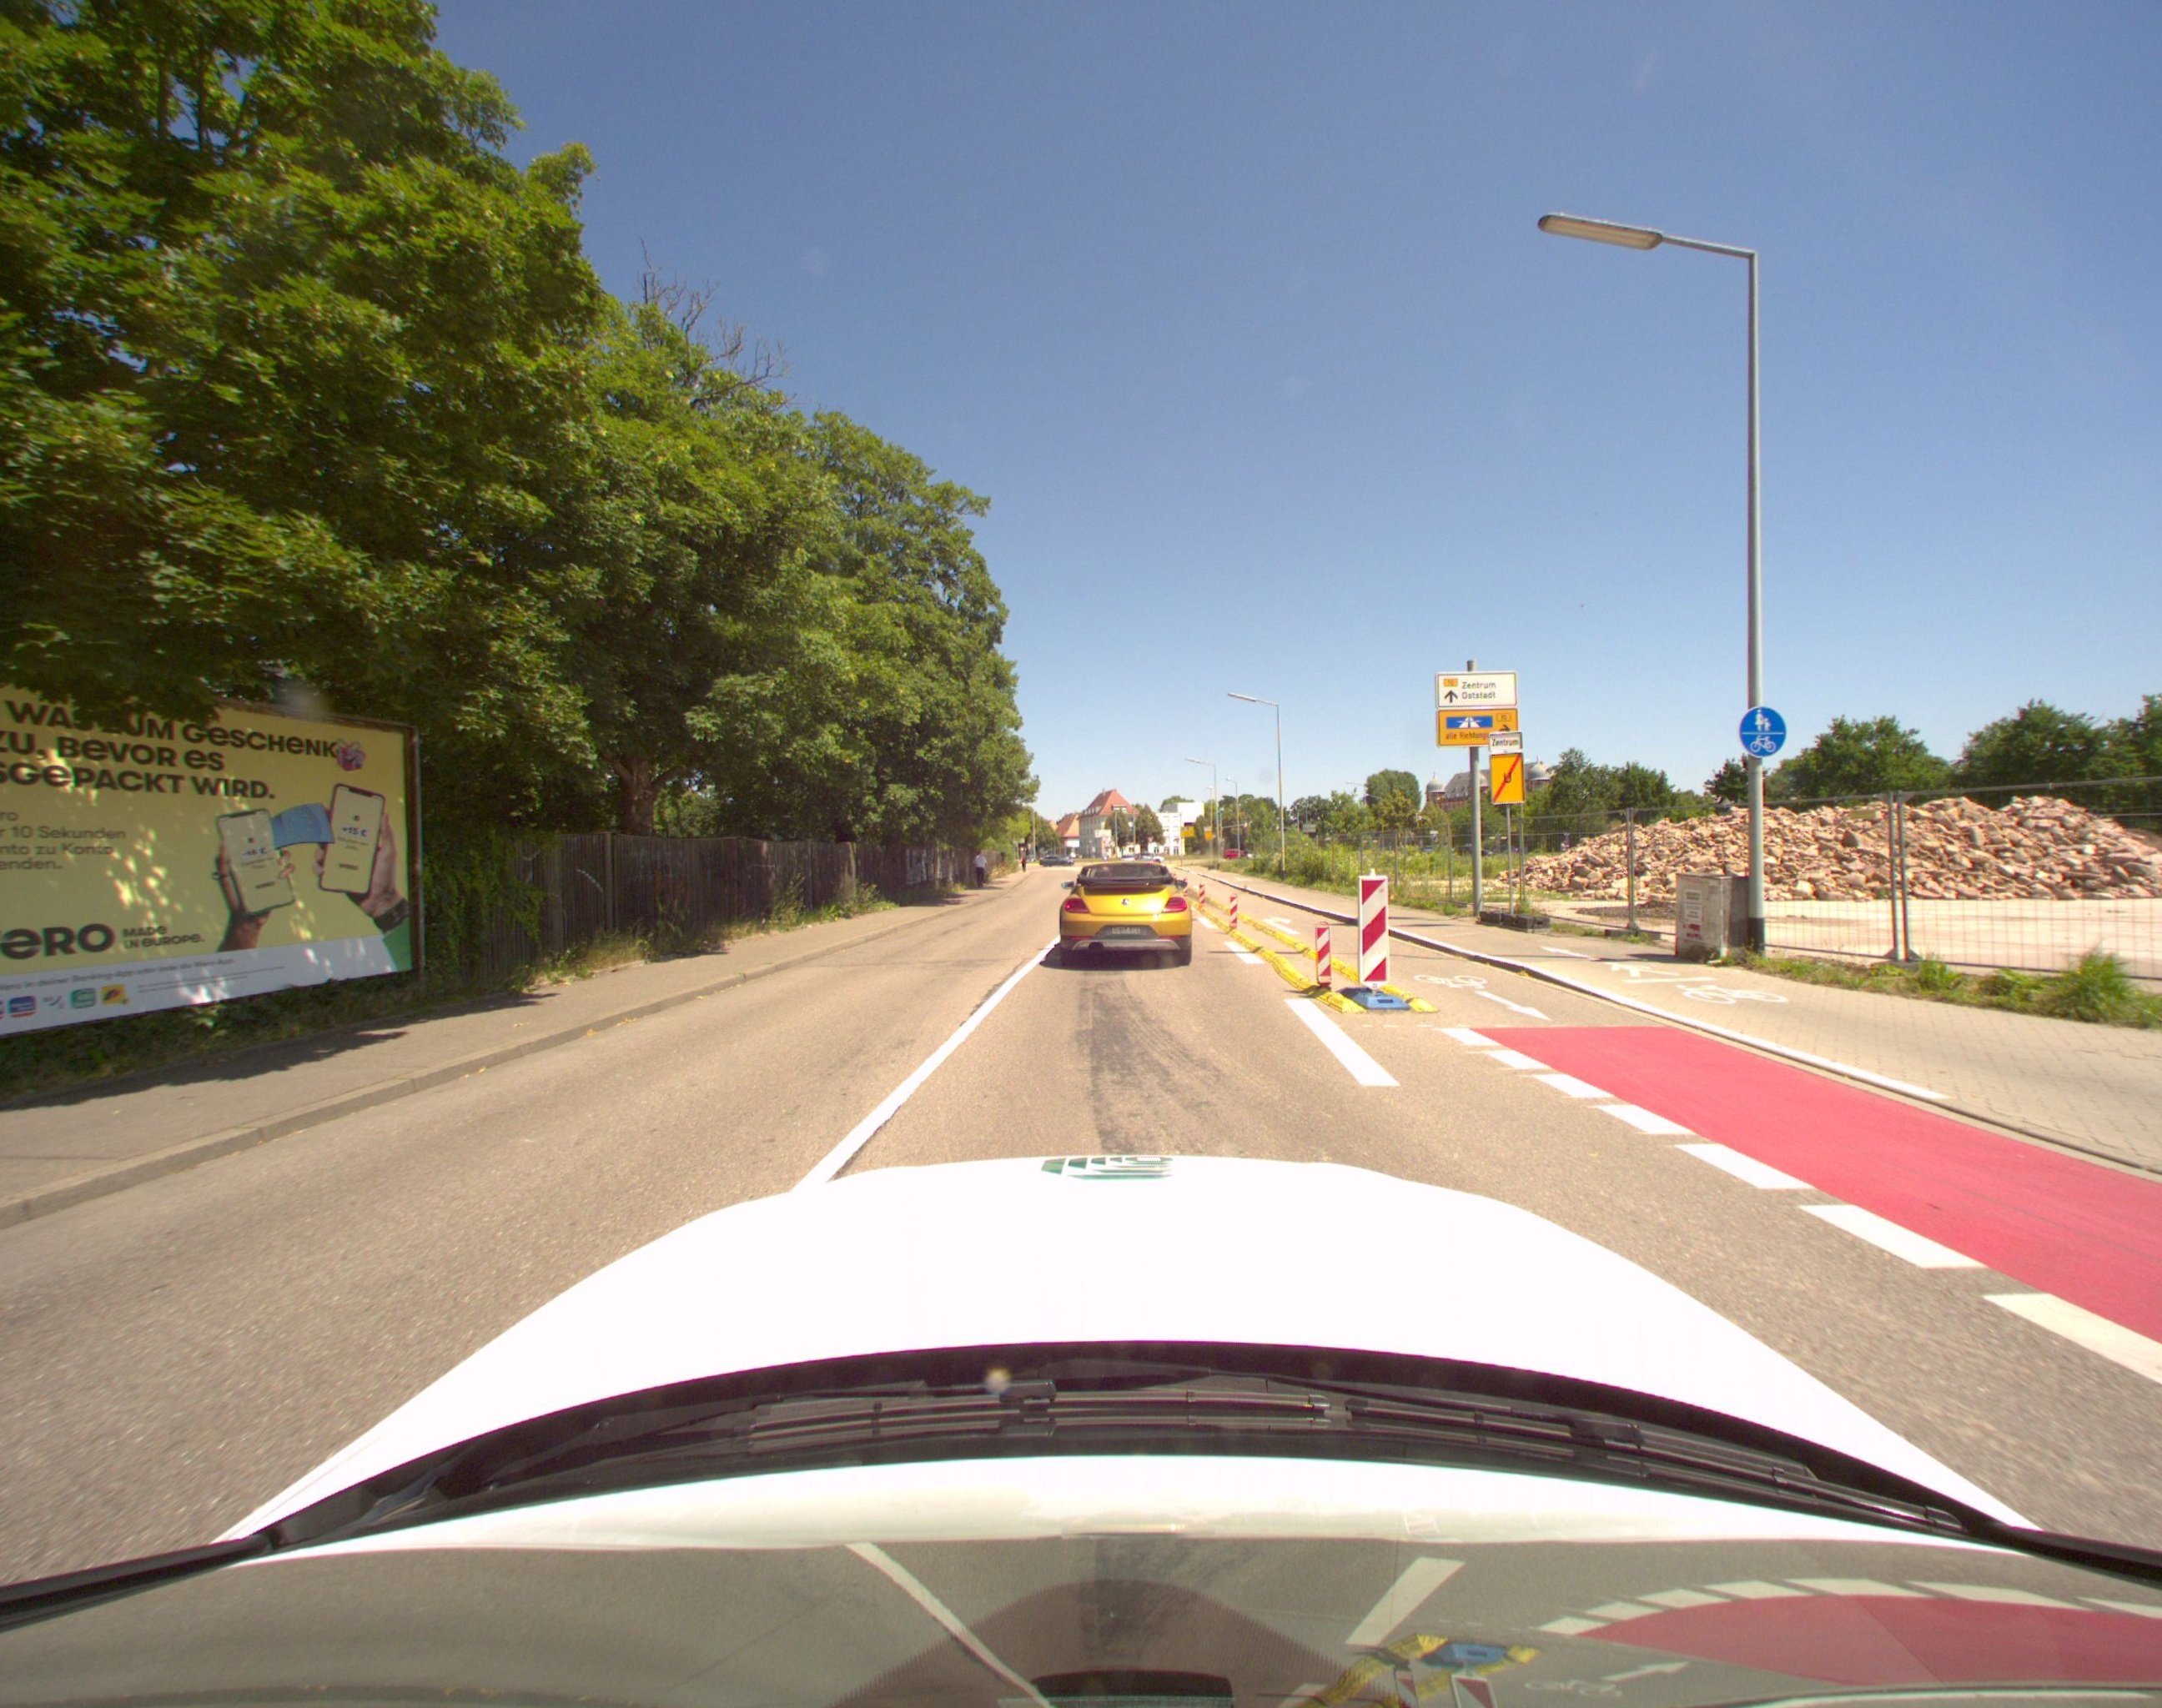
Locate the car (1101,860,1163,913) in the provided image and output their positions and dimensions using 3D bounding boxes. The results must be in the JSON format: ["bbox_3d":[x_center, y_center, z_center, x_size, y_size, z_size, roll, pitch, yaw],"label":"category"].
[{"bbox_3d":[1.579,0.951,25.267,1.719,1.443,4.004,-2,0,3],"label":"car"}]

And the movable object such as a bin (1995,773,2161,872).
[{"bbox_3d":[38.132,-1.125,26.610,4.921,3.260,10.473,-2,0,2],"label":"movable object such as a bin"}]

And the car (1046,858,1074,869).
[{"bbox_3d":[-2.712,1.219,106.588,3.415,1.275,1.411,-2,0,11],"label":"car"}]

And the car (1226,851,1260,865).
[{"bbox_3d":[20.295,0.487,102.165,4.038,1.677,1.790,-2,0,10],"label":"car"}]

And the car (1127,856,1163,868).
[{"bbox_3d":[8.225,1.047,104.624,4.414,1.358,1.541,-2,0,8],"label":"car"}]

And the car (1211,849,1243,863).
[{"bbox_3d":[19.755,0.233,110.105,4.037,1.677,1.790,-2,0,11],"label":"car"}]

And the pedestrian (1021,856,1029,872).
[{"bbox_3d":[-5.329,0.959,77.644,0.720,1.454,0.818,-2,0,-1],"label":"pedestrian"}]

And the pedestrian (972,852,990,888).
[{"bbox_3d":[-4.882,0.787,39.722,0.720,1.725,0.818,-2,0,-1],"label":"pedestrian"}]

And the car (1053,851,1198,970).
[{"bbox_3d":[0.621,0.765,12.171,1.783,1.437,3.814,-2,-2,2],"label":"car"}]
